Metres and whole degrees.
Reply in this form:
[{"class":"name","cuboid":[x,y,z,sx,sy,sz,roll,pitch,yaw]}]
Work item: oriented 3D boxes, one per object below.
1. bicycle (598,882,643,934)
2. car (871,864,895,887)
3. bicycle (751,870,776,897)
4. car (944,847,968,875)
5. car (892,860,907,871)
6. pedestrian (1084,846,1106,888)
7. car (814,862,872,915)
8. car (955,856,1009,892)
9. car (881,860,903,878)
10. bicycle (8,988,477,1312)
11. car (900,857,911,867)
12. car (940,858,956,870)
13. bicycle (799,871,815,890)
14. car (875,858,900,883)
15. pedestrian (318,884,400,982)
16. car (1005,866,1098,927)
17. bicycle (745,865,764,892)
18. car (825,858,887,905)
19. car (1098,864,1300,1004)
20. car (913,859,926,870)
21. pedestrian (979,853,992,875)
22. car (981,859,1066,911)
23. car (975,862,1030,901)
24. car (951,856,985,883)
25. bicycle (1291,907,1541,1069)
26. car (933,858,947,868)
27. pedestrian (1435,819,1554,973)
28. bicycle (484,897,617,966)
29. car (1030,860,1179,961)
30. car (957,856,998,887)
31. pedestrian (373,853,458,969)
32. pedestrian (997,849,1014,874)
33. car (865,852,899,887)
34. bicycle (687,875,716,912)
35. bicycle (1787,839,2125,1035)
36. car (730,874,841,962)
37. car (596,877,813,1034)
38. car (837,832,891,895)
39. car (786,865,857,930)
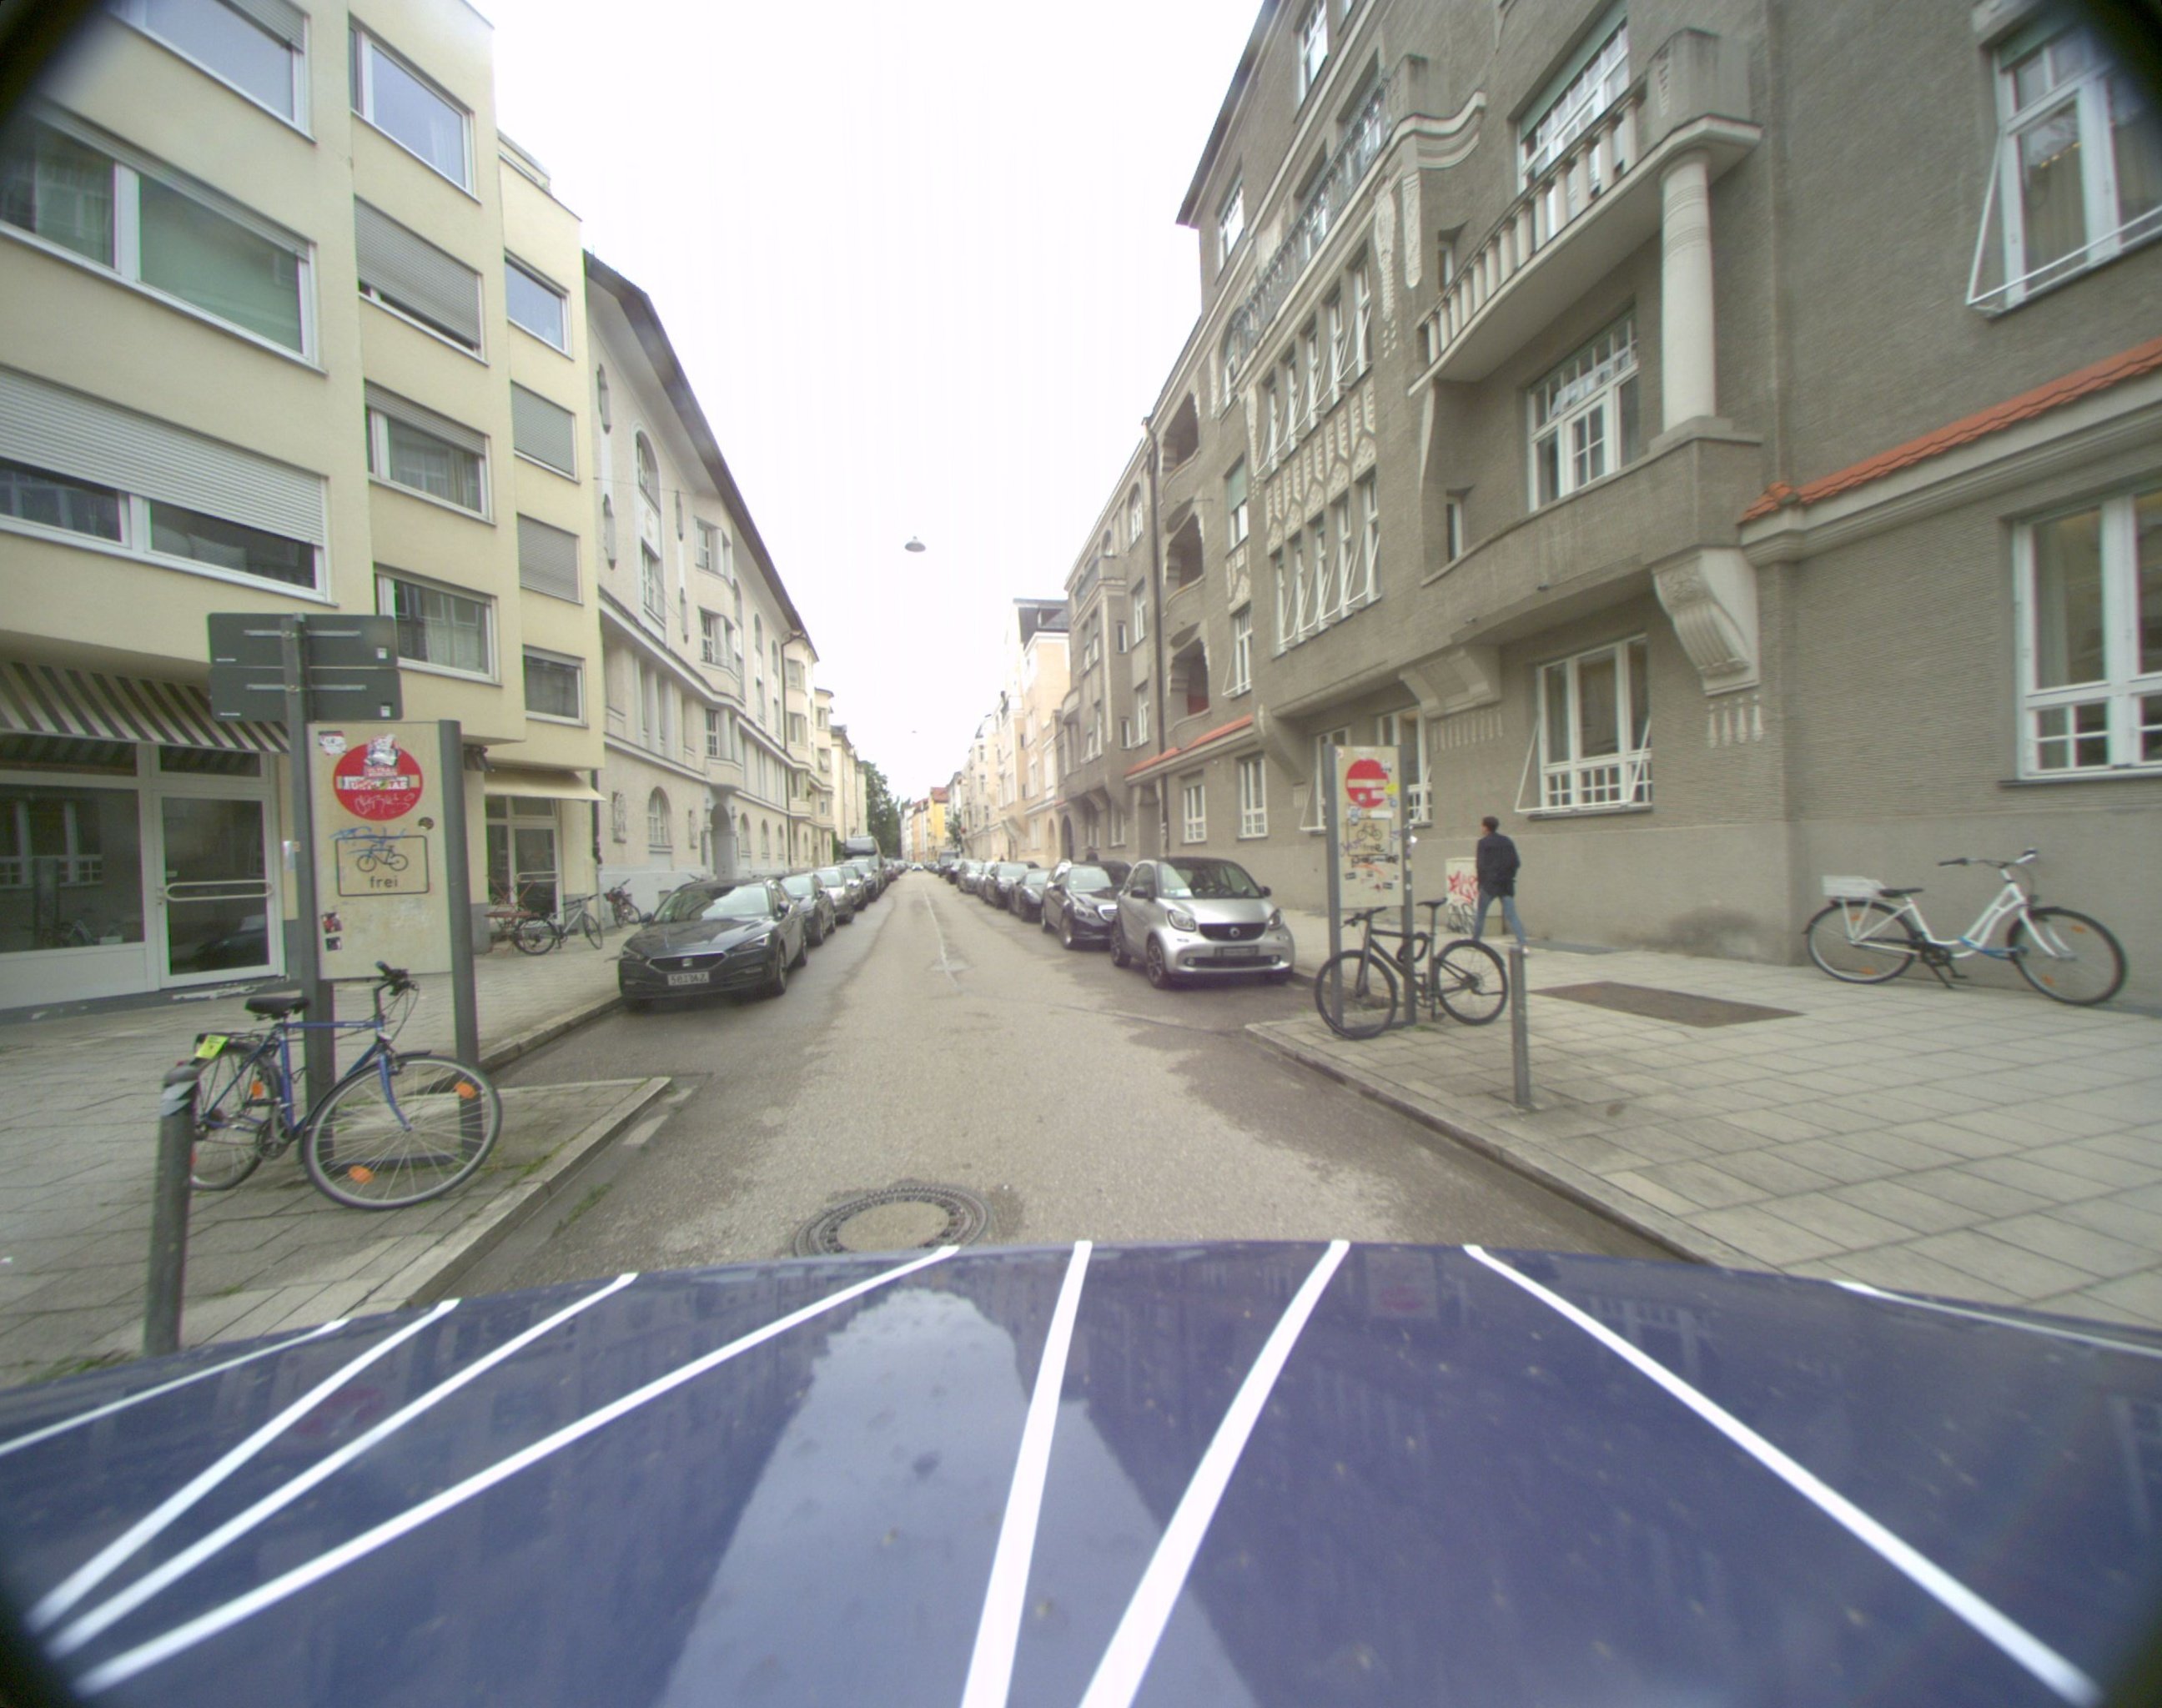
[{"class":"bicycle","cuboid":[-11.373,1.302,18.815,0.565,1.185,1.675,0,0,-17]},{"class":"car","cuboid":[-14.247,1.542,54.846,1.498,1.463,3.499,-3,1,-14]},{"class":"bicycle","cuboid":[-14.911,1.370,35.742,0.483,1.144,1.787,-3,1,-4]},{"class":"car","cuboid":[-12.275,0.676,74.163,2.106,2.606,5.672,-1,0,-11]},{"class":"car","cuboid":[-23.479,1.493,98.269,1.685,1.375,3.641,-3,1,-12]},{"class":"pedestrian","cuboid":[0.618,0.568,33.326,0.719,1.806,0.730,-3,1,-13]},{"class":"car","cuboid":[-8.145,1.125,26.229,1.640,1.583,3.963,-3,1,-15]},{"class":"car","cuboid":[-4.736,0.894,35.847,1.844,1.504,4.601,-2,0,-16]},{"class":"car","cuboid":[-17.222,1.332,69.365,1.733,1.458,3.733,-3,1,-12]},{"class":"bicycle","cuboid":[-3.758,1.220,3.433,1.794,1.079,0.667,-1,-1,15]},{"class":"car","cuboid":[-30.827,1.425,133.675,1.685,1.671,3.641,-3,1,-12]},{"class":"car","cuboid":[-16.389,1.244,93.546,1.685,1.390,3.701,-3,1,-12]},{"class":"bicycle","cuboid":[-17.416,1.666,48.361,0.643,1.111,1.965,-3,1,-12]},{"class":"car","cuboid":[-16.452,1.363,64.651,1.882,1.925,4.657,-3,1,-14]},{"class":"pedestrian","cuboid":[-10.891,1.175,11.471,0.532,1.390,0.674,-2,1,21]},{"class":"car","cuboid":[-0.889,1.019,19.846,1.761,1.323,4.092,-2,0,-11]},{"class":"bicycle","cuboid":[-14.350,1.078,33.404,0.483,1.144,1.786,0,0,-15]},{"class":"car","cuboid":[-9.371,1.084,31.990,2.000,1.679,4.669,-3,0,-12]},{"class":"car","cuboid":[1.384,0.903,9.956,1.710,1.506,2.908,0,0,-11]},{"class":"car","cuboid":[-28.004,1.792,131.672,2.000,1.788,3.996,-3,1,-12]},{"class":"pedestrian","cuboid":[-7.662,0.793,60.848,0.838,1.779,0.740,-3,1,-12]},{"class":"car","cuboid":[-2.020,0.941,25.103,2.001,1.440,4.773,-2,0,-14]},{"class":"car","cuboid":[-3.241,1.049,30.745,1.812,1.423,4.435,-1,0,-11]},{"class":"car","cuboid":[-7.683,1.001,51.324,1.957,1.649,4.613,-3,1,-11]},{"class":"bicycle","cuboid":[2.632,1.007,5.983,1.809,1.009,0.539,-3,1,-13]},{"class":"car","cuboid":[-20.251,1.298,108.945,1.685,1.390,3.700,-3,1,-14]},{"class":"pedestrian","cuboid":[5.084,0.486,9.400,0.842,1.777,0.935,-3,1,-9]},{"class":"bicycle","cuboid":[-9.395,1.338,13.550,0.751,1.026,1.802,0,0,23]},{"class":"car","cuboid":[0.234,0.908,14.440,1.761,1.506,4.703,-2,0,-11]},{"class":"car","cuboid":[-5.740,0.908,41.925,1.809,1.563,3.809,-3,1,-14]},{"class":"pedestrian","cuboid":[-11.086,0.922,12.660,1.013,1.836,0.744,0,-2,31]},{"class":"pedestrian","cuboid":[-5.220,0.514,52.470,0.996,1.719,0.938,-3,1,-13]},{"class":"car","cuboid":[-12.648,0.952,48.498,1.802,2.027,4.067,-3,1,-12]},{"class":"bicycle","cuboid":[-12.733,1.300,25.531,0.483,1.144,1.786,-3,1,-15]},{"class":"bicycle","cuboid":[6.947,0.583,6.168,0.621,1.341,1.673,-3,1,-17]},{"class":"car","cuboid":[-6.049,1.223,15.956,1.640,1.463,3.850,-3,1,-14]},{"class":"car","cuboid":[-4.861,1.154,10.519,1.699,1.463,4.605,-3,1,-14]},{"class":"car","cuboid":[-11.332,0.417,40.091,2.262,2.943,6.124,-3,2,-13]},{"class":"car","cuboid":[-7.101,1.117,21.080,1.640,1.528,3.850,-3,1,-16]}]
